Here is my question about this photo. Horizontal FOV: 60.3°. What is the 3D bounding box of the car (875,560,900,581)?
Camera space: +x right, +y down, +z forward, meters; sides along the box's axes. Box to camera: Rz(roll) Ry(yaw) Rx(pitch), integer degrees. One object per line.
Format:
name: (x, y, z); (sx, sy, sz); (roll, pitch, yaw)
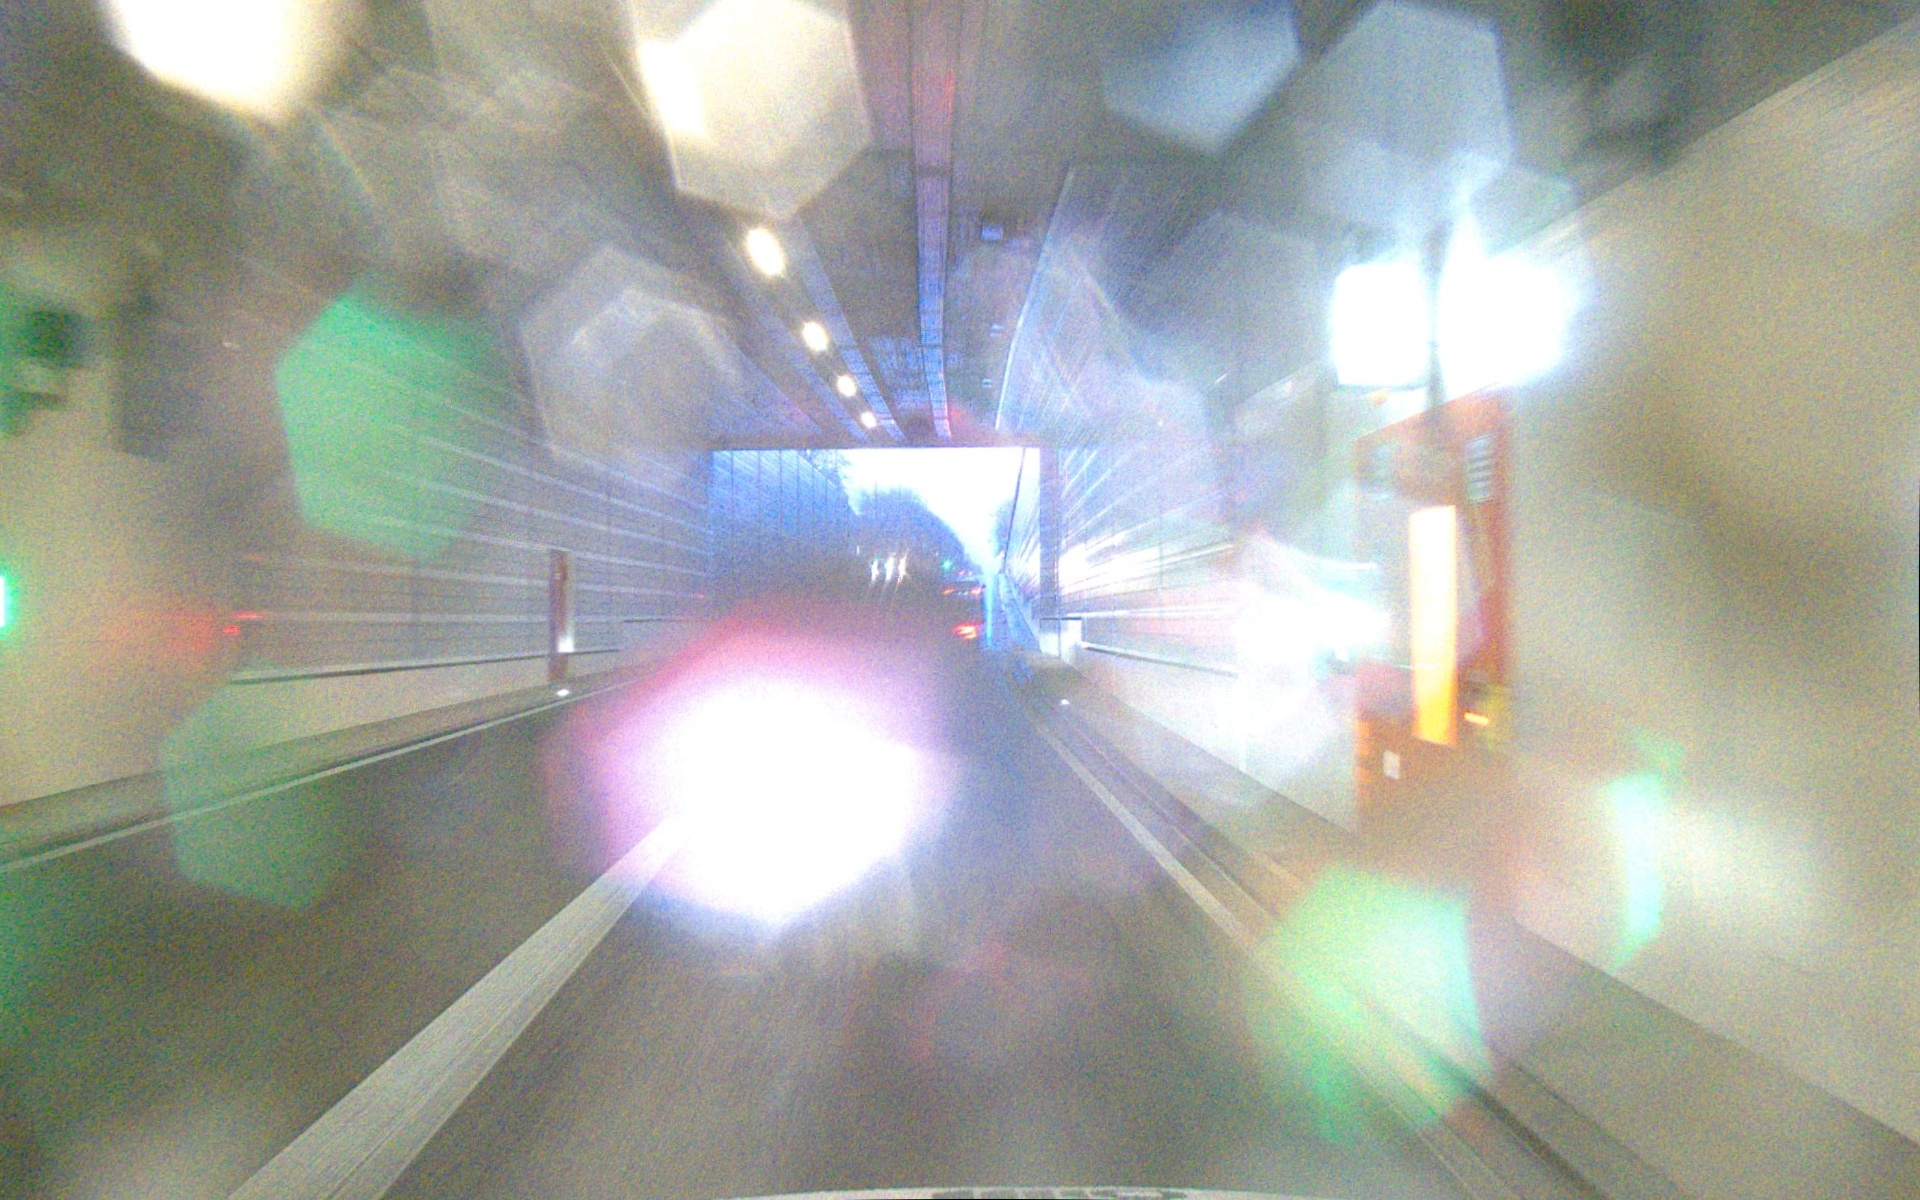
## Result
car: (-6.328, -2.553, 144.334); (1.841, 1.649, 4.000); (2, -1, 1)

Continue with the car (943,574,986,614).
car: (0.170, -0.253, 74.447); (1.842, 1.649, 3.999); (2, -1, -1)

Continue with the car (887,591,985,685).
car: (-0.426, 0.601, 27.539); (1.501, 1.422, 3.432); (2, 0, -2)
